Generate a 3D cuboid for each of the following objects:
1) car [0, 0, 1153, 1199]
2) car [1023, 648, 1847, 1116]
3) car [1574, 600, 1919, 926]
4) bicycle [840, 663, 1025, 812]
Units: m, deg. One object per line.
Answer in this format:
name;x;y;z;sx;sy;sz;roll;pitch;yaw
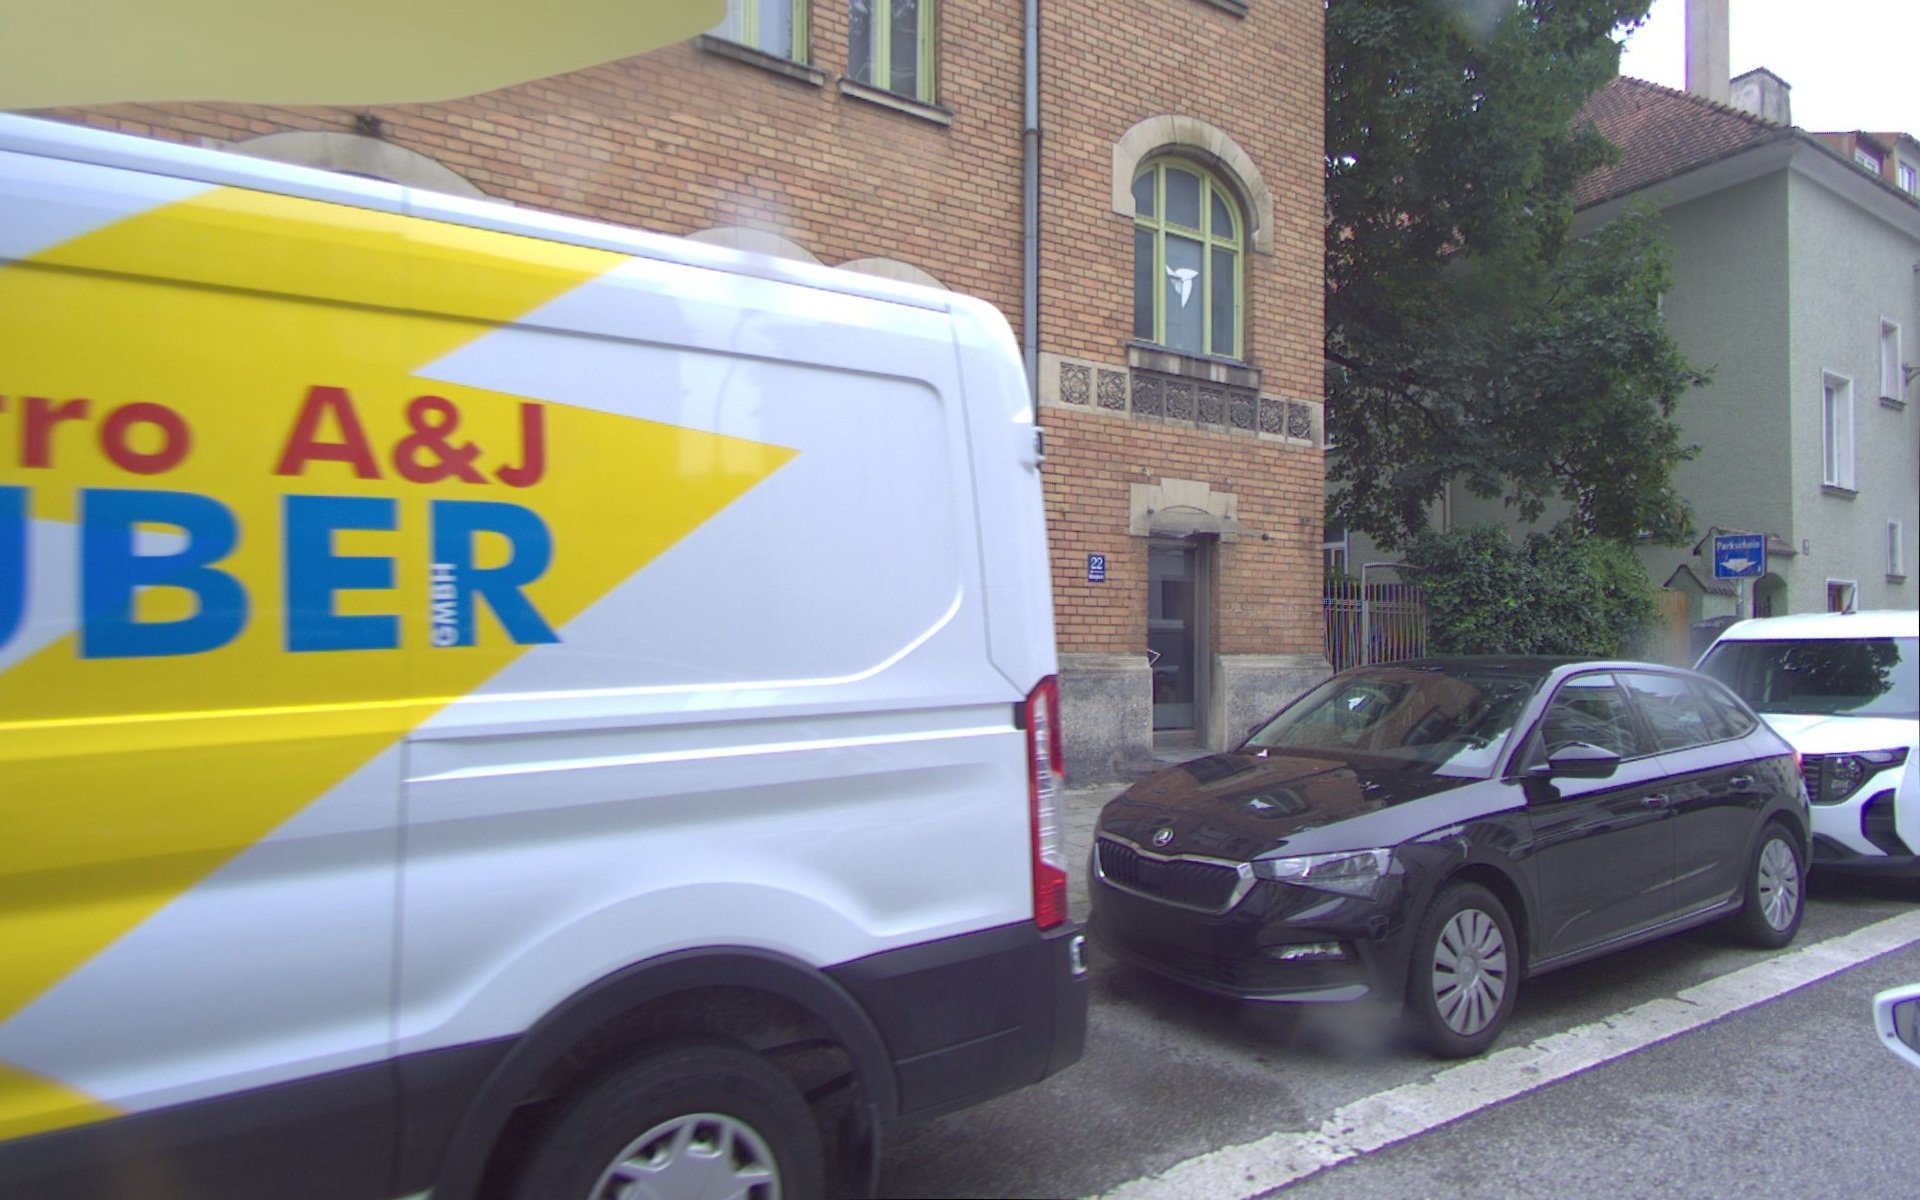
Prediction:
car;-2.254;0.338;2.167;5.171;2.508;2.101;1;-3;-31
car;2.486;0.980;4.994;4.118;1.439;1.707;1;-3;-31
car;6.517;0.963;7.329;4.202;1.779;1.707;1;-3;-31
bicycle;-0.208;1.074;8.134;1.455;1.099;0.432;2;-1;-31
